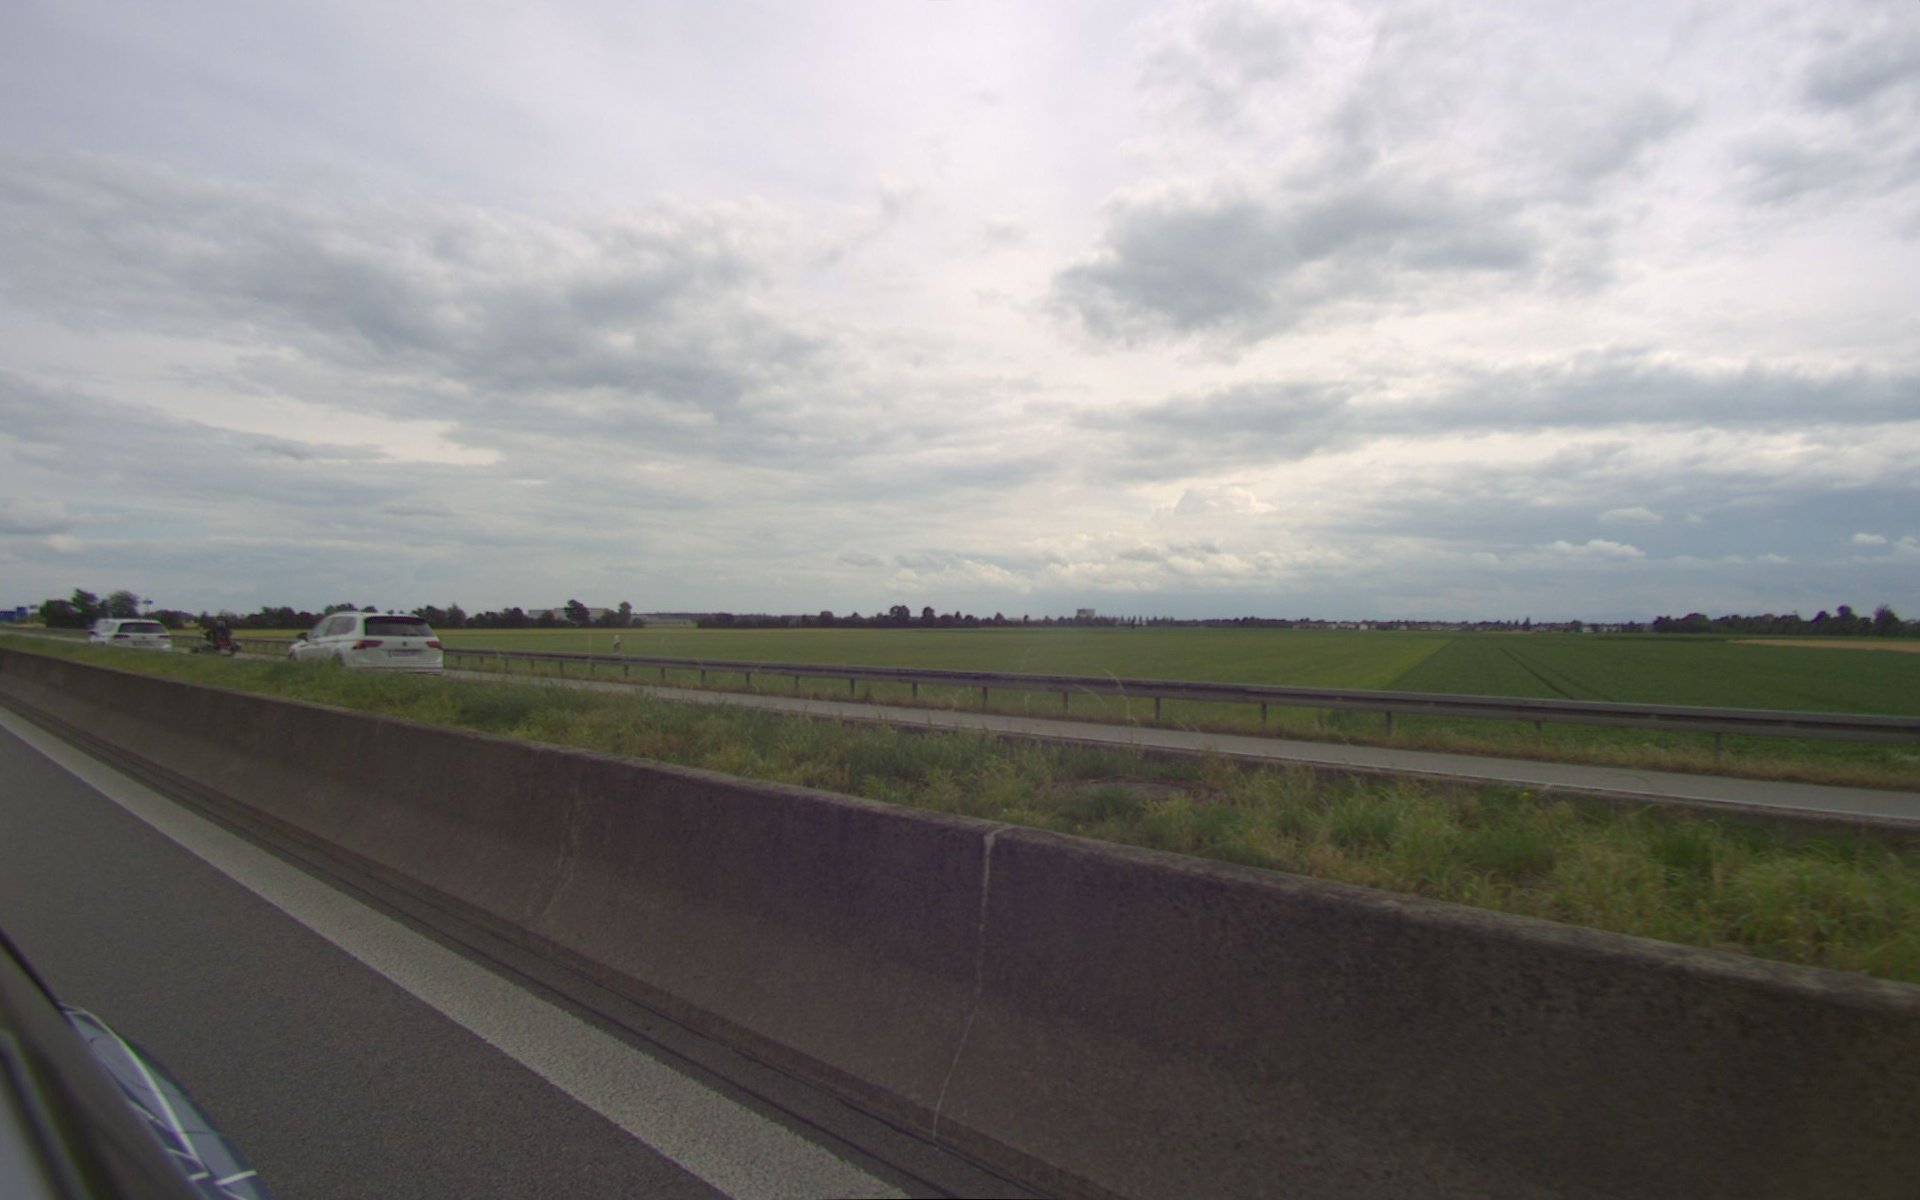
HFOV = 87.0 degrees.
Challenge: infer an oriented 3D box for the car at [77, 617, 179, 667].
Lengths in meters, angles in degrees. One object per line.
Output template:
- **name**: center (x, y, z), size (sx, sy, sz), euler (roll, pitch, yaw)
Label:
- **car**: center (-28.572, 1.409, 34.685), size (4.987, 1.586, 1.846), euler (-1, -3, 41)

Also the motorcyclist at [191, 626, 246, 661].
- **motorcyclist**: center (-30.266, 1.790, 41.319), size (1.252, 1.382, 1.550), euler (-1, -3, 41)

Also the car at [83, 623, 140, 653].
- **car**: center (-49.012, 2.176, 58.424), size (4.689, 1.639, 1.816), euler (-1, -3, 42)

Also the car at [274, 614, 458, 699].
- **car**: center (-12.470, 1.129, 21.124), size (4.690, 1.586, 1.846), euler (-1, -3, 40)

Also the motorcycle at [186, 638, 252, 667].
- **motorcycle**: center (-30.283, 2.125, 41.318), size (2.981, 1.086, 1.550), euler (-1, -3, 42)
